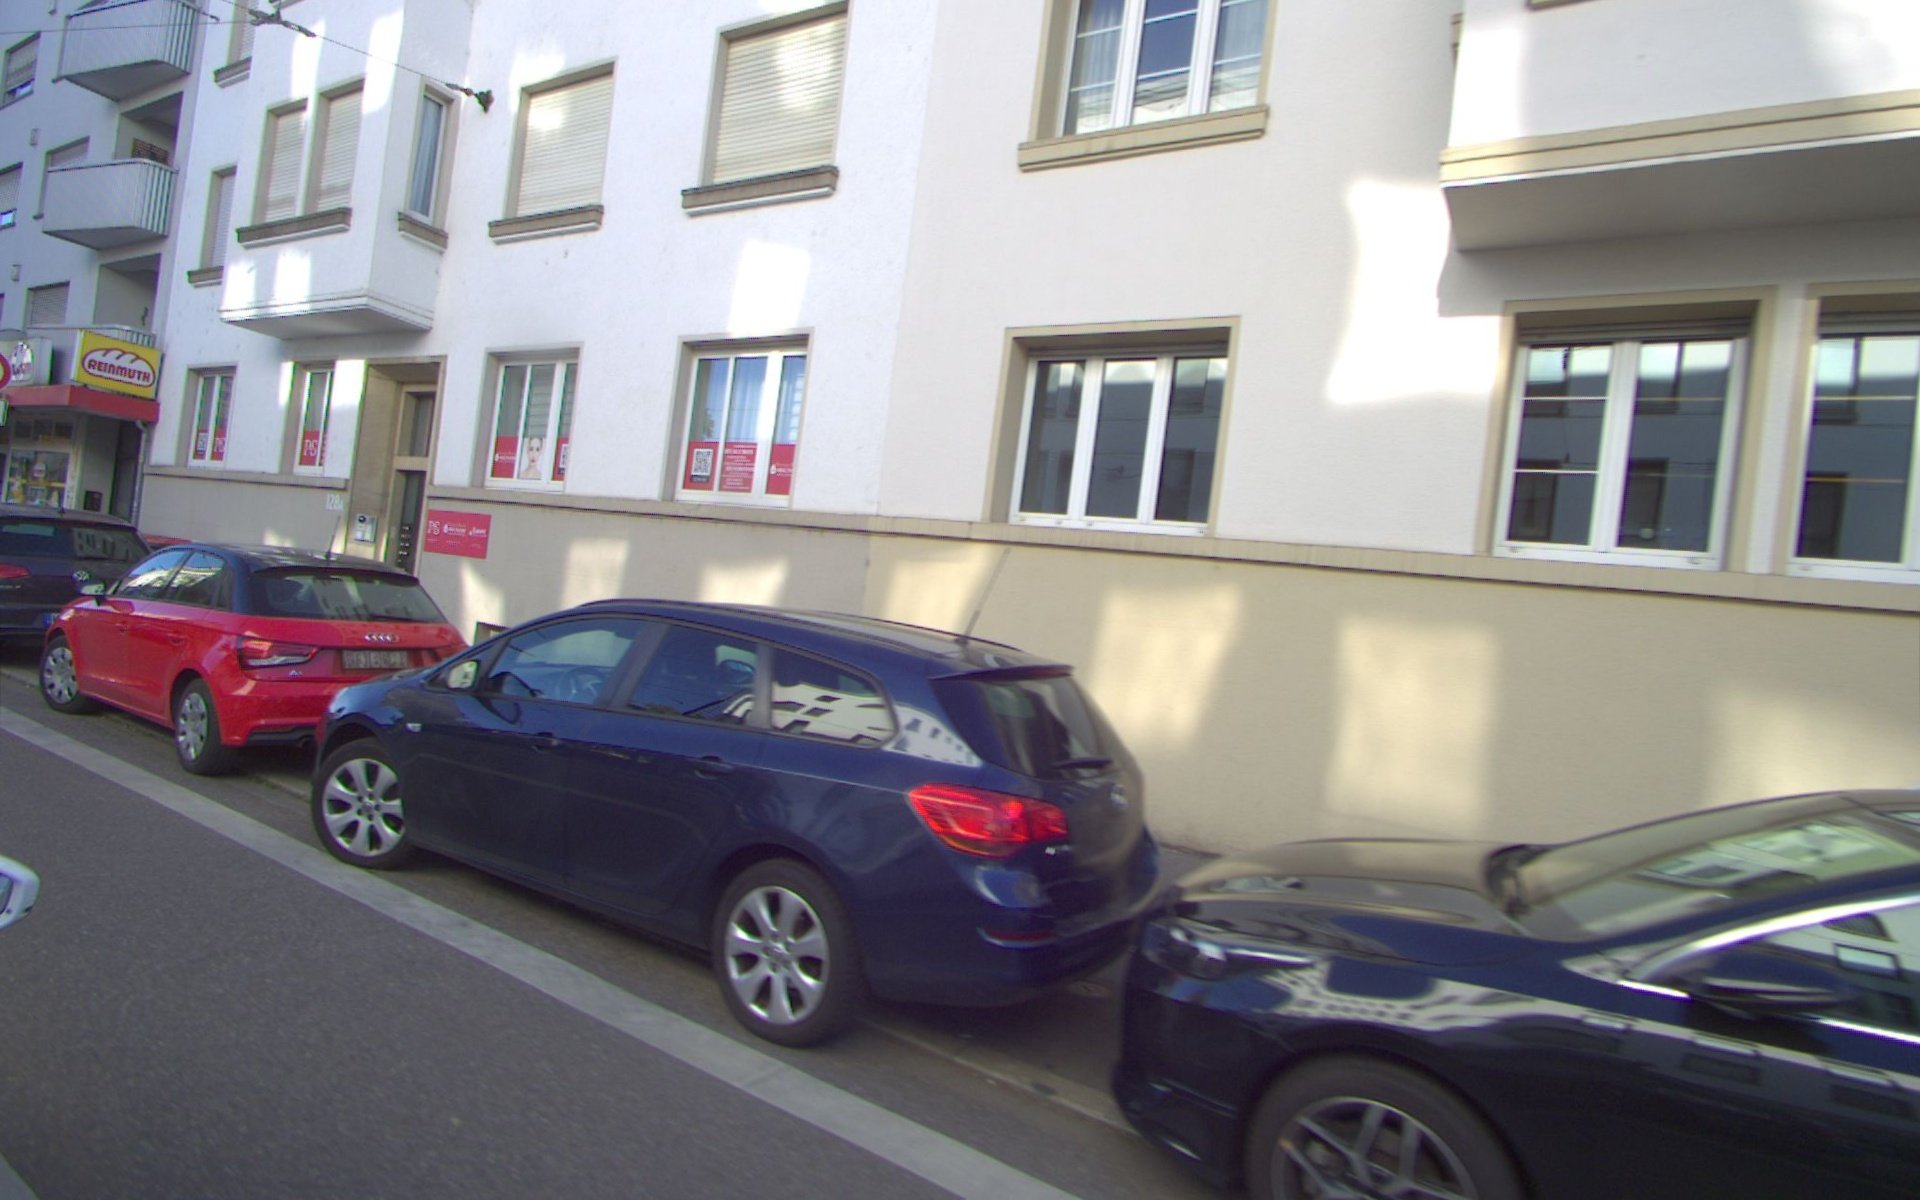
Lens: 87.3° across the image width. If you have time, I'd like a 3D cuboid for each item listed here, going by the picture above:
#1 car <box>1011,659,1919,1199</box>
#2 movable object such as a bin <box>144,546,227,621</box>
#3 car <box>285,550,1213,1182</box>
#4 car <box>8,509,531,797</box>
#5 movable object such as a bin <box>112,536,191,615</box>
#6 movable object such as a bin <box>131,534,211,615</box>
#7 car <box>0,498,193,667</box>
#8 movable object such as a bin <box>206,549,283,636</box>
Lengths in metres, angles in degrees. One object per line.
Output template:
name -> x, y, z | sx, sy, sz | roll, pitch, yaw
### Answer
car -> 2.583, 1.197, 2.562 | 4.429, 1.527, 1.859 | 6, 1, 29
movable object such as a bin -> -10.685, -0.224, 13.885 | 0.560, 0.927, 0.656 | 7, -1, 30
car -> -1.148, 0.747, 4.714 | 4.029, 1.527, 1.858 | 7, 1, 33
car -> -5.330, 0.258, 7.645 | 3.923, 1.492, 1.858 | 7, 1, 33
movable object such as a bin -> -12.232, -0.365, 15.231 | 0.560, 1.085, 0.677 | 7, -1, 30
movable object such as a bin -> -11.675, -0.368, 14.890 | 0.560, 1.085, 0.677 | 7, -1, 30
car -> -9.800, -0.309, 10.299 | 4.287, 1.425, 1.711 | 7, 1, 33
movable object such as a bin -> -9.581, -0.098, 13.471 | 0.545, 1.069, 0.559 | 7, -1, 31
